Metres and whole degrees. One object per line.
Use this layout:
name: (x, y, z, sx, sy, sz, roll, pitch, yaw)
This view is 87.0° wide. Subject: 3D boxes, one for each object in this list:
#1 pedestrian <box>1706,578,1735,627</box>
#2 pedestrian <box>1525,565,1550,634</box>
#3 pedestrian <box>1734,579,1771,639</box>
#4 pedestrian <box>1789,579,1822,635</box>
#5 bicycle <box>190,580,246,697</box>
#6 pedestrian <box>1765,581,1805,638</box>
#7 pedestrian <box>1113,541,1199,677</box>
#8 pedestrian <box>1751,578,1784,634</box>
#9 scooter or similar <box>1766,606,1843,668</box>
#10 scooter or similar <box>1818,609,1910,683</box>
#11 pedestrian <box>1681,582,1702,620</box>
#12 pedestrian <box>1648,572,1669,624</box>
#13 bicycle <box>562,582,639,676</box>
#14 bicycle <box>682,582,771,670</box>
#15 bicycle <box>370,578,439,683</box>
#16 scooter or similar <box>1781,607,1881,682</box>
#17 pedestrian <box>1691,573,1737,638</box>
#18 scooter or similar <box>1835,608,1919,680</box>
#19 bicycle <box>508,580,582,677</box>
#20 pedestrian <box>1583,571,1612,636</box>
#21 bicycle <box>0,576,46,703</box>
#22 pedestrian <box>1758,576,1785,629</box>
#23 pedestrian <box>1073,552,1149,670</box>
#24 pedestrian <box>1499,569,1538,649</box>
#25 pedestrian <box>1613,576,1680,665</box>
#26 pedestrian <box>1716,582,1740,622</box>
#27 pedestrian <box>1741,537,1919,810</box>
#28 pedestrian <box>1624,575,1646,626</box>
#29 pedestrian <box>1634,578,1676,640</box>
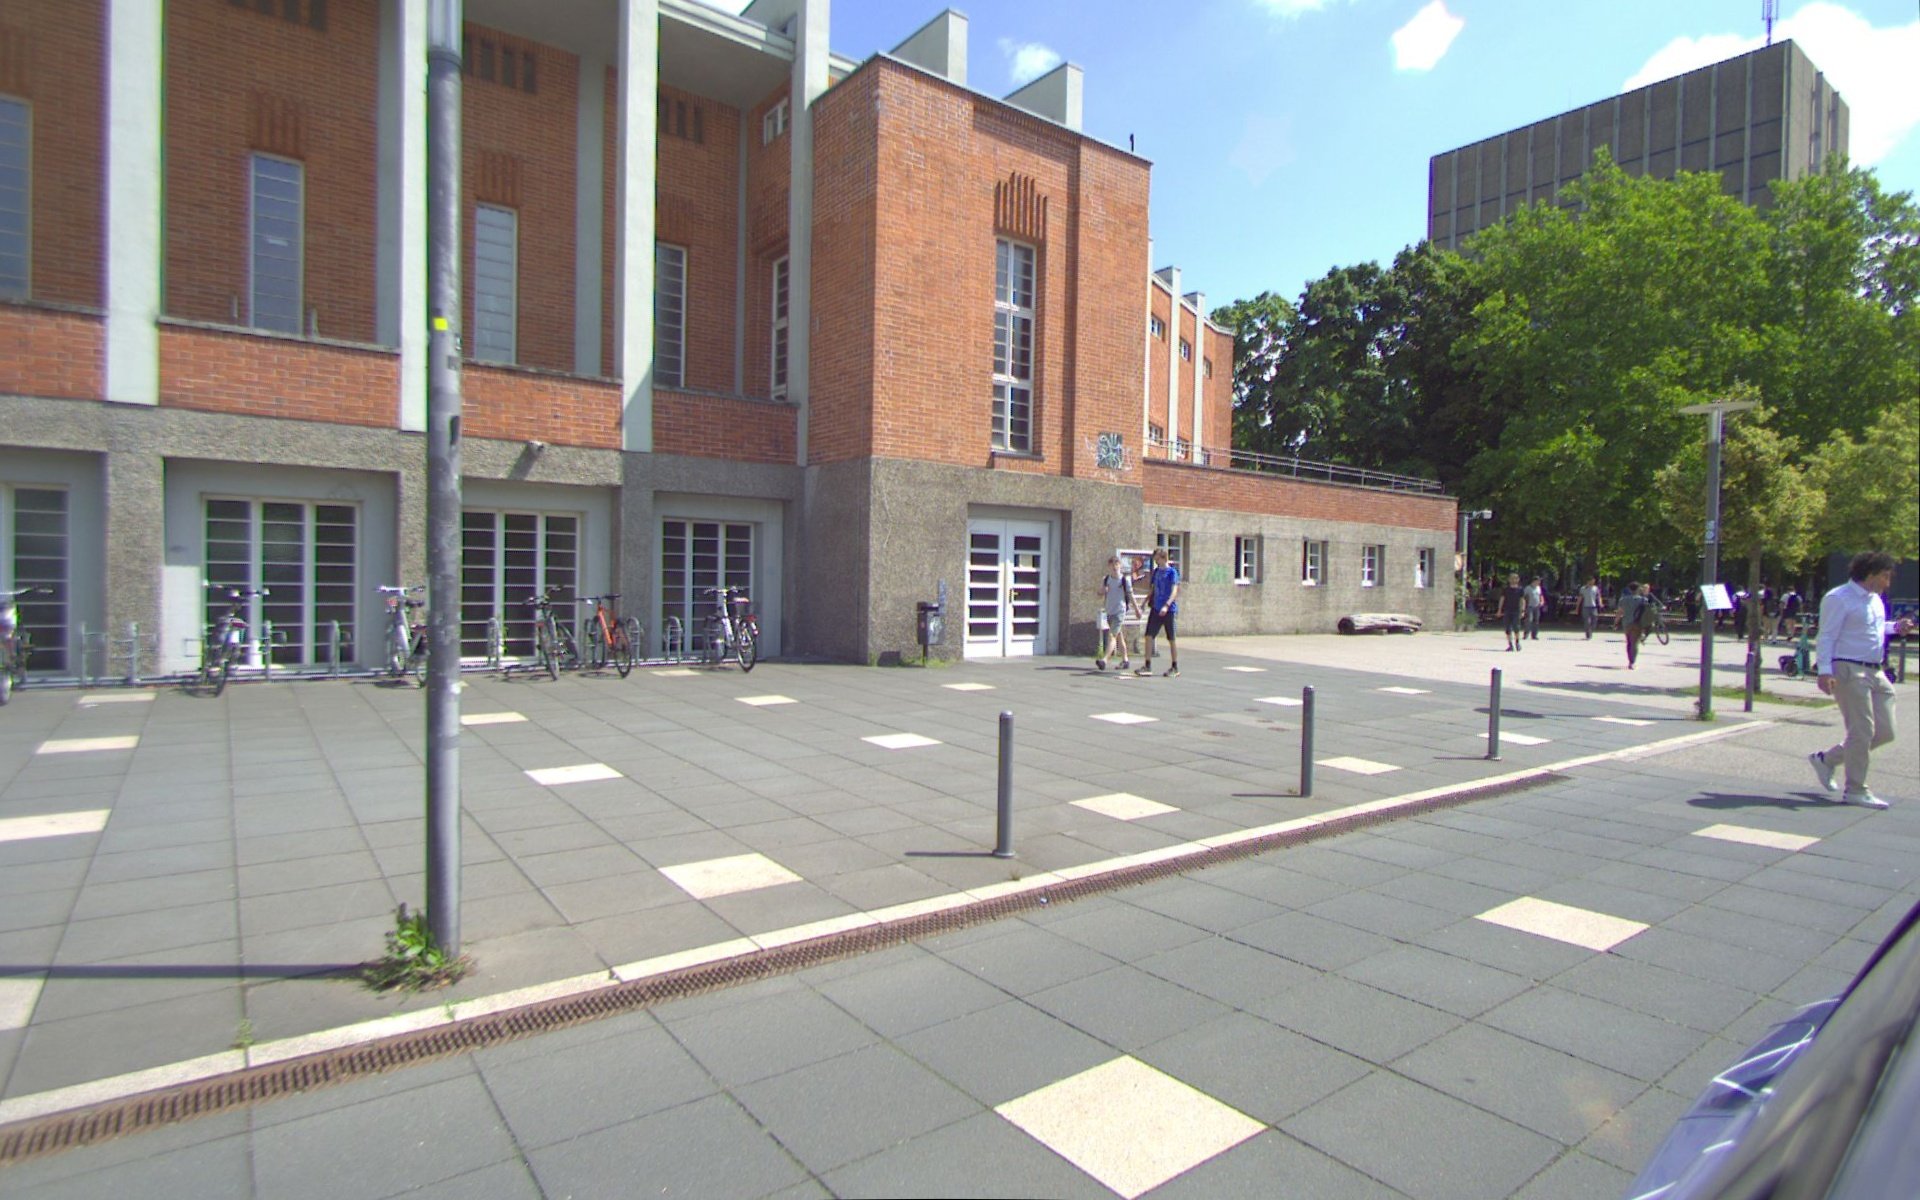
pedestrian: (27.554, 0.081, 36.676, 0.633, 1.728, 0.709, 2, 1, 25)
pedestrian: (16.744, -0.016, 29.332, 0.562, 1.954, 0.879, 0, -2, 34)
pedestrian: (24.499, 0.264, 31.297, 0.776, 1.813, 0.707, 3, 1, 32)
pedestrian: (26.907, 0.216, 32.214, 0.617, 1.760, 0.766, 3, 1, 31)
bicycle: (-8.036, 0.369, 10.937, 0.427, 1.124, 1.916, 0, 2, -38)
pedestrian: (25.226, 0.291, 30.957, 0.745, 1.694, 0.837, 3, 1, 31)
pedestrian: (2.877, 0.103, 14.826, 1.090, 1.913, 0.665, -1, 3, -40)
pedestrian: (26.119, 0.187, 32.747, 0.596, 1.774, 0.758, 2, 1, 25)
scooter or similar: (17.088, 0.753, 20.480, 1.447, 1.194, 0.577, 2, 1, -24)
scooter or similar: (16.630, 0.825, 18.642, 0.565, 1.259, 1.144, 2, 1, -2)
pedestrian: (31.372, 0.031, 43.402, 0.635, 1.576, 0.568, 3, 1, 34)
pedestrian: (24.792, -0.072, 35.942, 0.537, 1.816, 0.637, 3, 1, 33)
bicycle: (-4.748, 0.346, 13.319, 0.427, 1.124, 1.699, 0, 2, -38)
bicycle: (-3.354, 0.334, 14.416, 0.448, 1.124, 1.935, 0, 2, -38)
bicycle: (-6.606, 0.323, 11.997, 0.427, 1.124, 1.802, 0, 2, -38)
scooter or similar: (15.863, 0.790, 18.470, 0.565, 1.245, 1.357, 2, 1, -2)
pedestrian: (23.638, 0.172, 31.752, 0.975, 1.970, 0.968, 3, 1, 31)
scooter or similar: (17.331, 0.805, 19.028, 0.565, 1.248, 1.266, 2, 1, -2)
bicycle: (-5.305, 0.331, 12.876, 0.427, 1.124, 1.655, 0, 2, -38)
pedestrian: (18.899, 0.114, 30.008, 0.663, 1.911, 0.963, 1, -2, 29)
bicycle: (-9.309, 0.345, 9.893, 0.427, 1.124, 1.687, 0, 2, -38)
pedestrian: (29.781, 0.092, 37.153, 0.634, 1.893, 0.532, 2, 1, 30)
pedestrian: (2.300, 0.144, 15.415, 0.984, 1.727, 0.586, -1, 3, -38)
pedestrian: (13.019, 0.188, 23.586, 0.584, 1.799, 0.787, 3, 3, 41)
pedestrian: (13.620, 0.382, 20.071, 1.060, 1.696, 0.784, -1, 3, -40)
pedestrian: (32.209, 0.083, 42.466, 0.633, 1.659, 0.559, 2, 1, 24)
pedestrian: (6.664, 0.505, 7.512, 0.897, 1.871, 1.026, 0, 0, -7)
pedestrian: (24.259, 0.007, 36.374, 0.562, 1.816, 0.637, 3, 1, 33)
pedestrian: (20.549, 0.246, 29.918, 0.657, 1.788, 0.798, 2, 0, 2)
